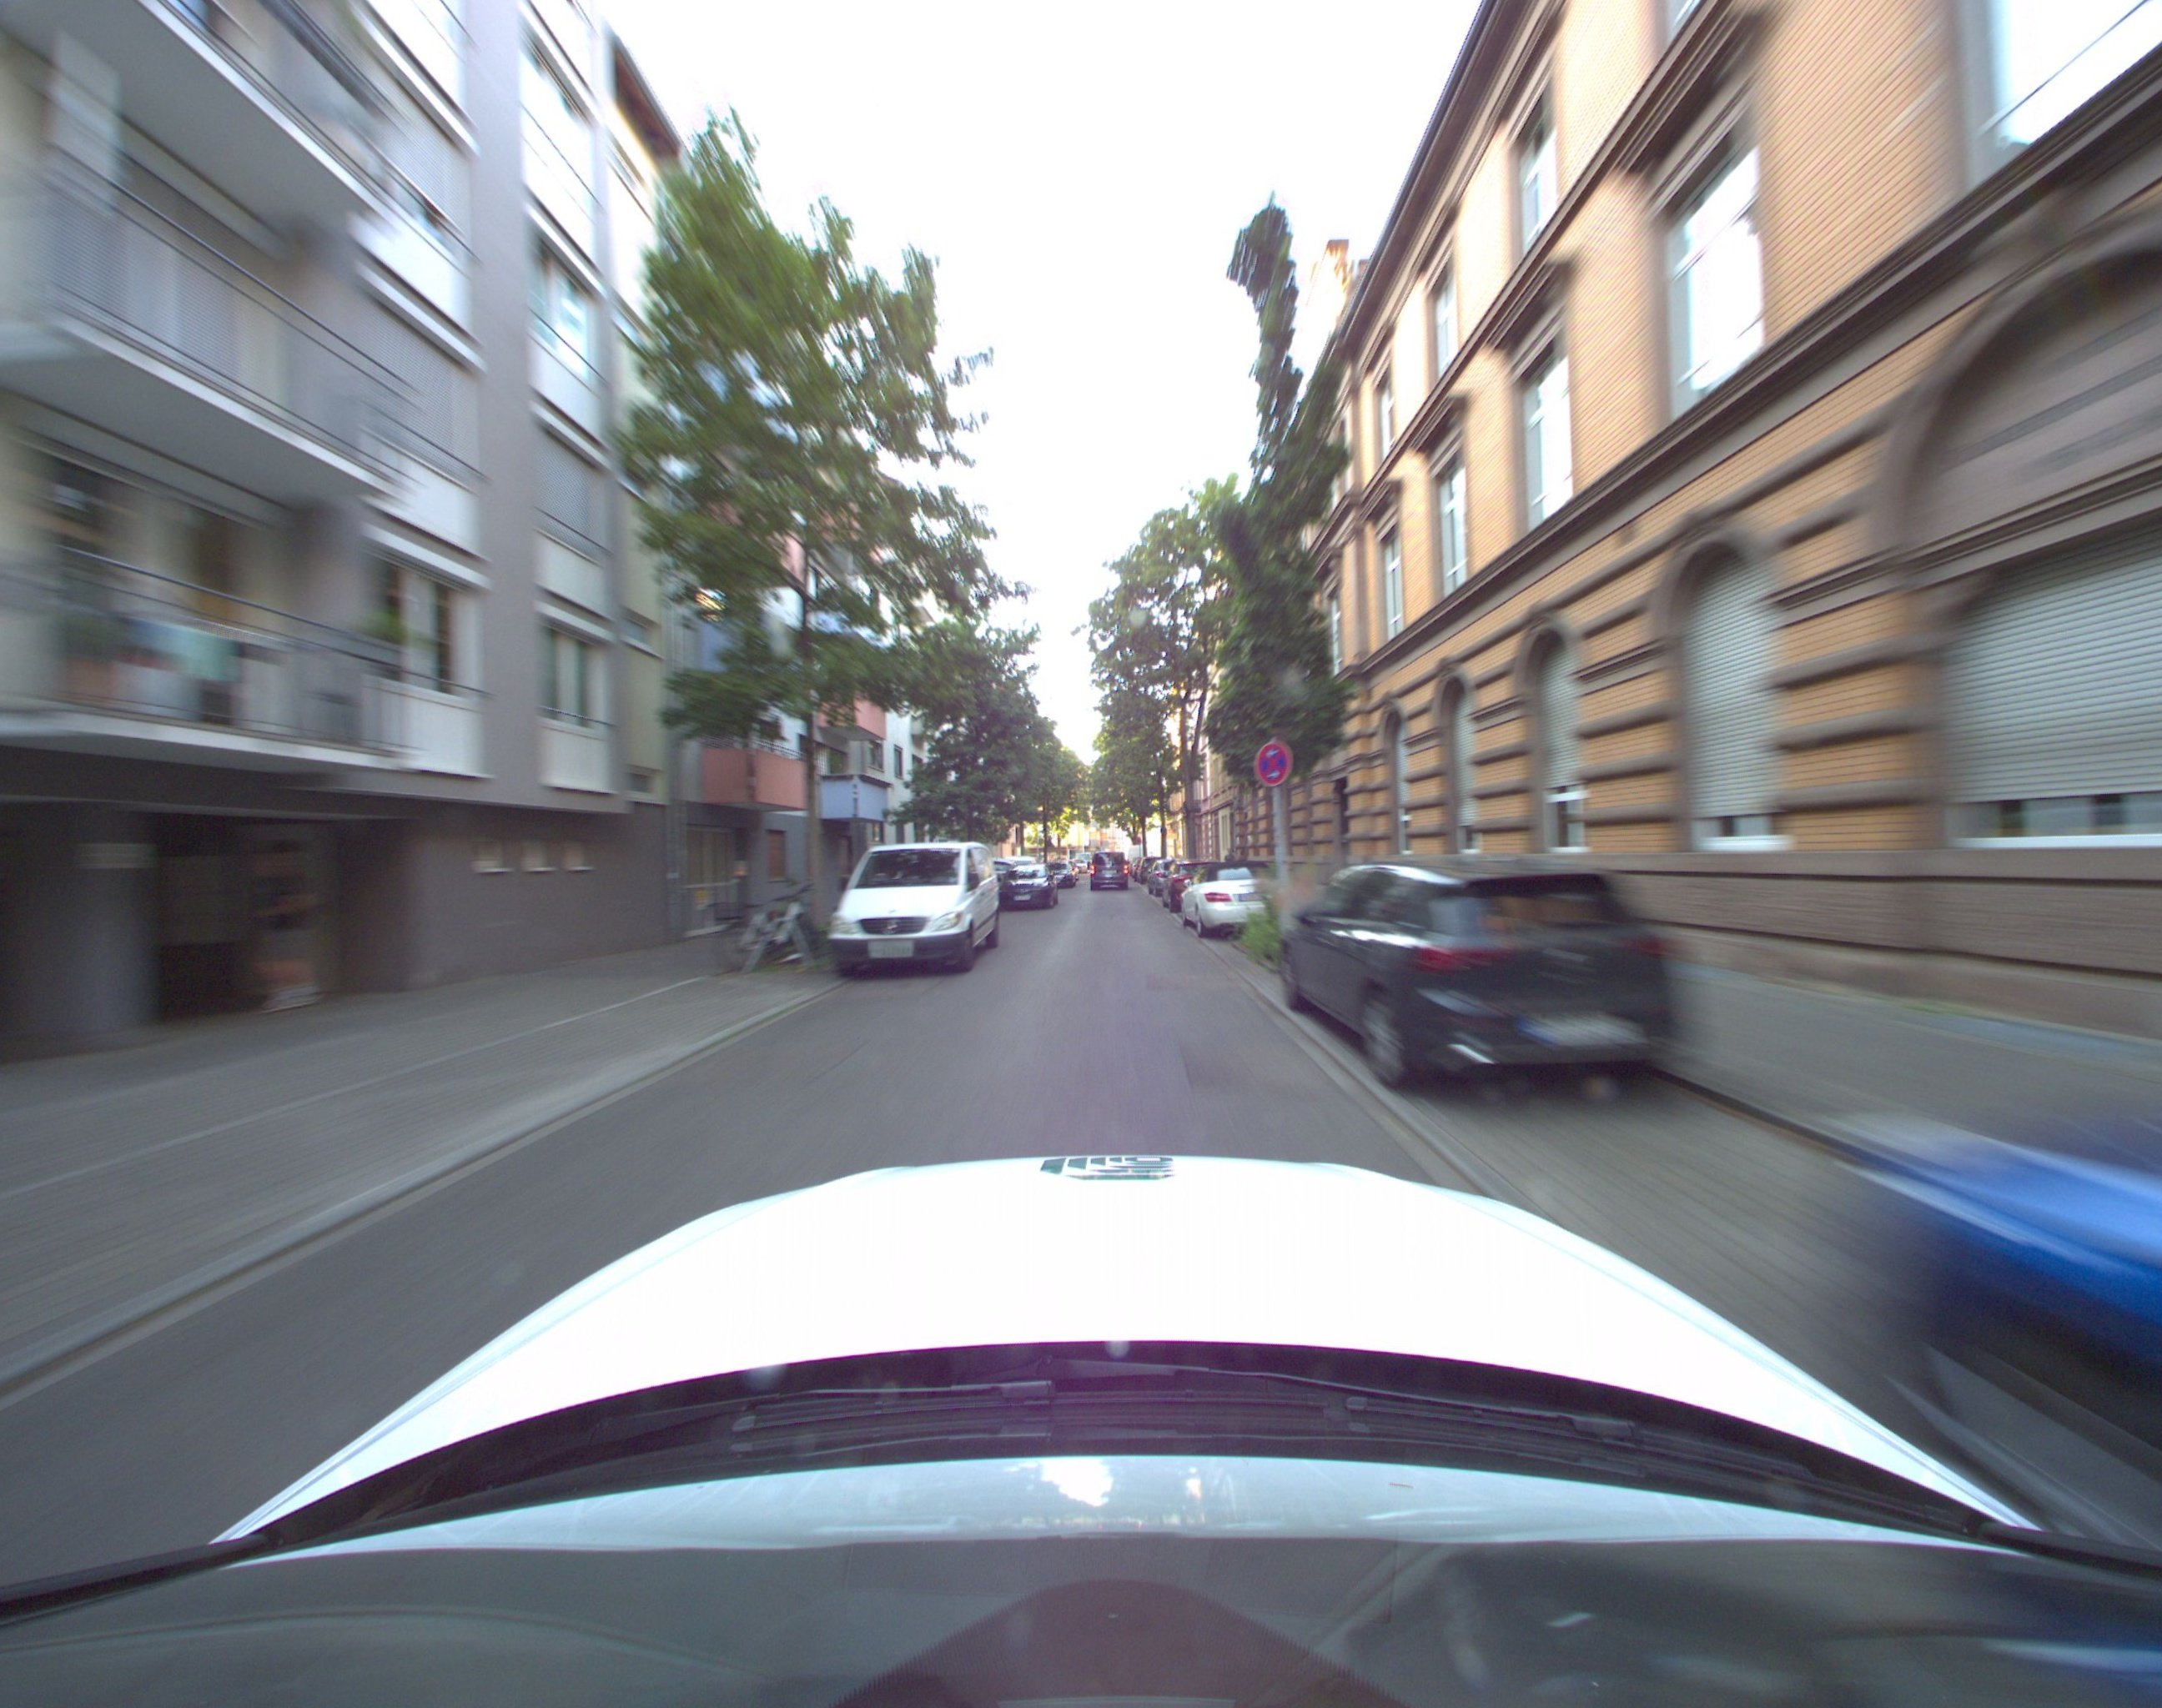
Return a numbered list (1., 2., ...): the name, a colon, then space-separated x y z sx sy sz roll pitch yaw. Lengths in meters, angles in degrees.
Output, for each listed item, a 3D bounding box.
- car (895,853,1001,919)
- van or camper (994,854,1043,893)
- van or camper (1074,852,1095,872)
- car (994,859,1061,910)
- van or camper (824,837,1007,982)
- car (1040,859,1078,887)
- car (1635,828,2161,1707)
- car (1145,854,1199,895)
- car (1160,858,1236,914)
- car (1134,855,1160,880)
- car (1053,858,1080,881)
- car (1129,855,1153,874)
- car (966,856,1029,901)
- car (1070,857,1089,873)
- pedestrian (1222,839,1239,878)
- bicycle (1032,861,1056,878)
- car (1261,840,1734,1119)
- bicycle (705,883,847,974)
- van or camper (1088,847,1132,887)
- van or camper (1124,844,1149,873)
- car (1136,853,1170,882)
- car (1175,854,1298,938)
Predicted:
1. car: -3.527 0.796 22.622 1.986 1.646 4.924 0 0 2
2. van or camper: -2.991 0.897 39.604 1.924 1.760 4.466 2 0 1
3. van or camper: 0.382 0.781 84.958 1.854 1.983 4.274 -2 0 3
4. car: -1.707 0.956 27.314 1.824 1.517 4.517 -2 -1 1
5. van or camper: -2.393 0.731 13.083 1.870 1.843 4.752 -2 0 0
6. car: -1.172 1.014 45.485 1.839 1.451 4.505 -1 0 2
7. car: 2.474 0.676 0.301 1.622 1.466 4.245 -2 0 0
8. car: 3.725 0.817 33.852 1.692 1.483 3.999 -4 0 0
9. car: 3.335 0.881 23.936 1.715 1.450 4.216 -2 -1 2
10. car: 4.218 0.833 52.148 1.543 1.496 3.615 -1 0 5
11. car: -0.947 1.017 55.473 1.624 1.430 3.543 -2 0 1
12. car: 4.725 0.835 64.873 1.743 1.471 3.778 -1 0 2
13. car: -3.381 0.935 33.765 2.027 1.672 4.649 2 0 1
14. car: -0.118 1.075 79.862 1.735 1.404 3.376 -2 0 2
15. pedestrian: 6.450 0.208 35.060 0.624 1.648 0.532 -1 0 2
16. bicycle: -2.696 1.135 59.883 1.839 1.195 0.598 0 0 -44
17. car: 2.731 0.687 6.539 1.705 1.478 4.193 -1 0 1
18. bicycle: -4.505 1.057 12.120 0.690 1.163 1.834 -2 0 44
19. van or camper: 1.531 0.630 41.162 2.026 1.897 4.275 -1 0 4
20. van or camper: 5.149 0.395 75.855 1.987 2.599 5.424 -1 0 1
21. car: 4.178 0.763 47.848 1.606 1.559 3.766 -2 0 0
22. car: 2.995 0.736 16.604 1.687 1.401 4.647 -2 0 1
